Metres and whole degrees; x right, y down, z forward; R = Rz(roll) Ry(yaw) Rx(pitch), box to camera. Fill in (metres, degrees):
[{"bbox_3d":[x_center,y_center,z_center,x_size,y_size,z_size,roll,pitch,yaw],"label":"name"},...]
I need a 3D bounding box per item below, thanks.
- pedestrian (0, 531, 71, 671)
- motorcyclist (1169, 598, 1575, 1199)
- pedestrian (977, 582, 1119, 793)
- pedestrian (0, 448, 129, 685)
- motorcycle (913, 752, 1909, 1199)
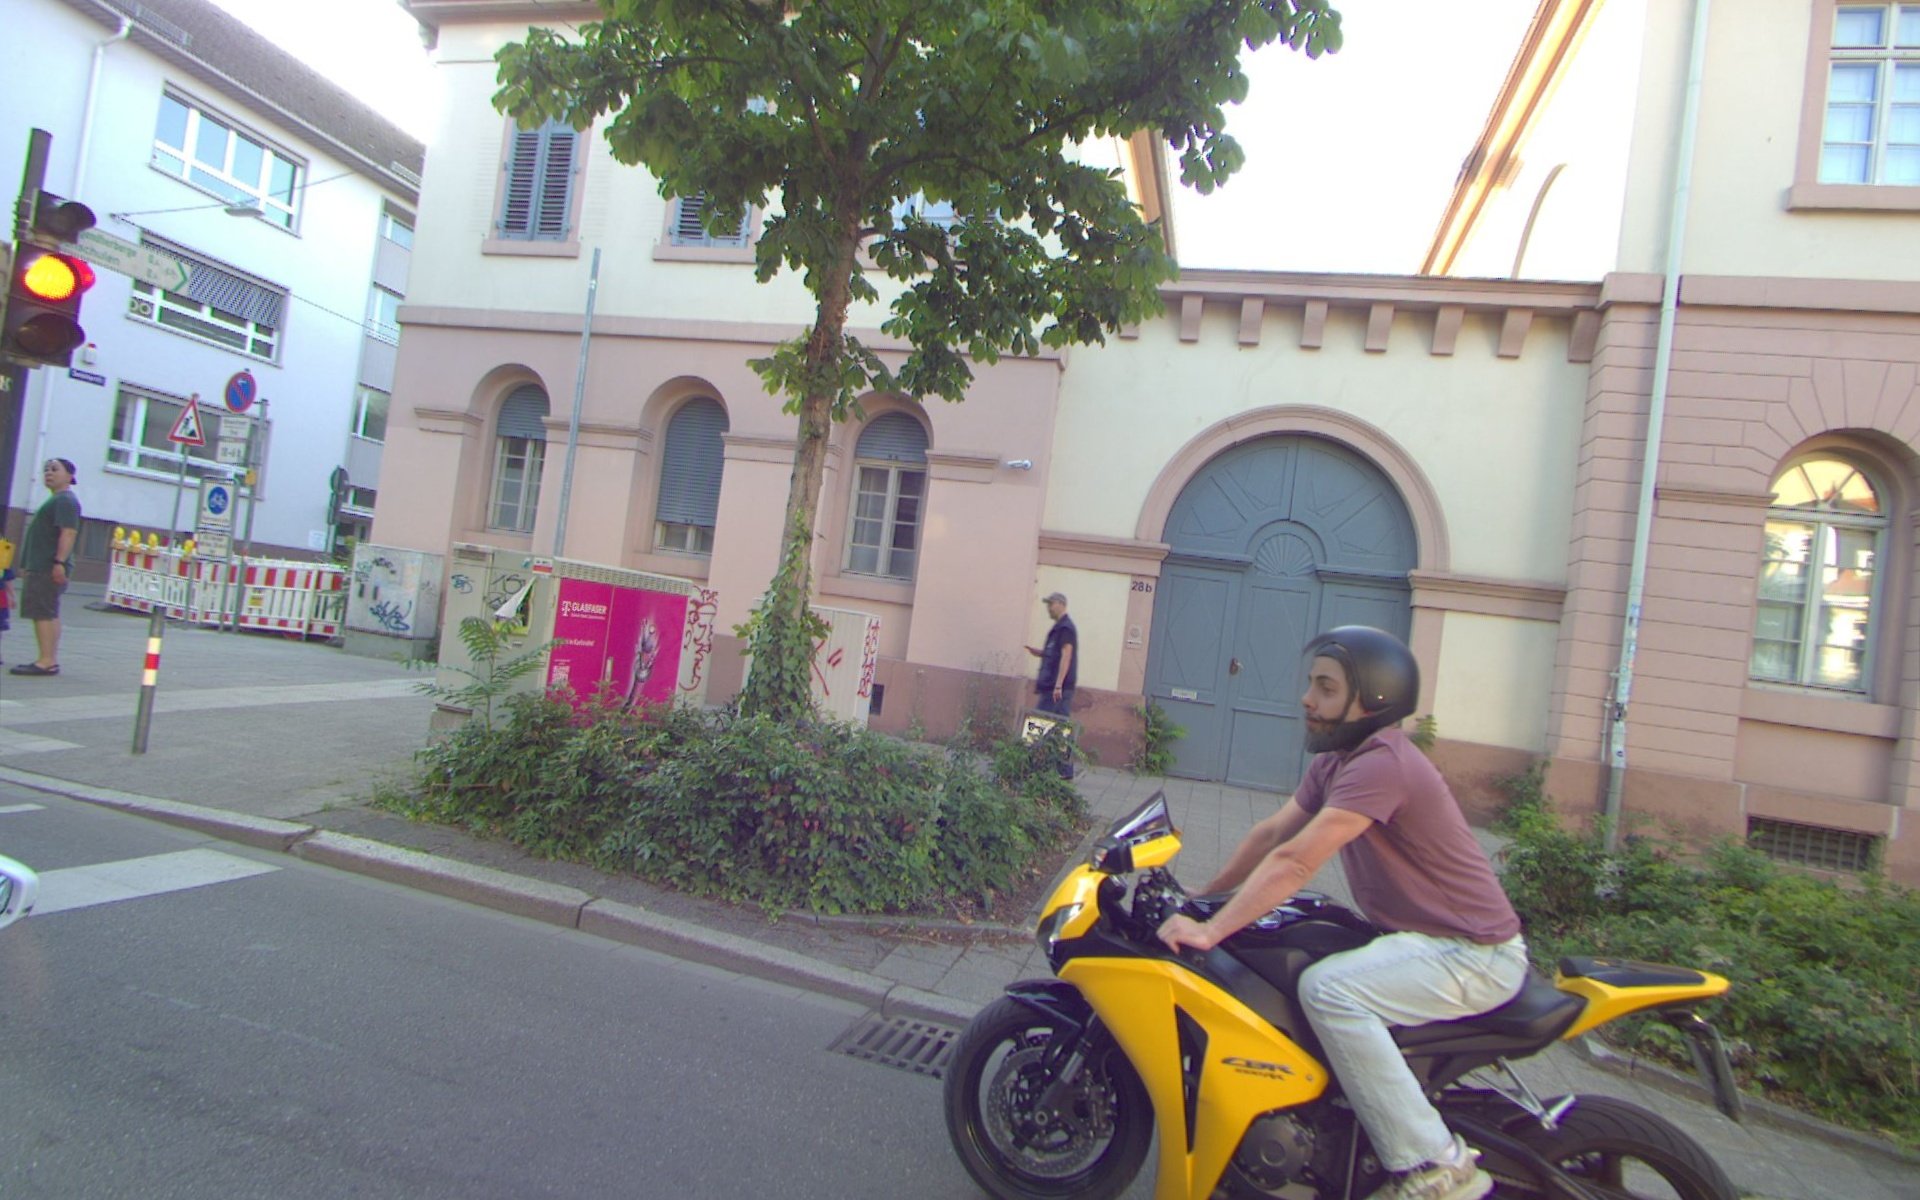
[{"bbox_3d":[-8.368,-0.017,8.652,0.821,1.134,0.567,8,0,6],"label":"pedestrian"},{"bbox_3d":[0.977,0.785,2.601,0.685,1.435,0.795,7,-3,12],"label":"motorcyclist"},{"bbox_3d":[0.885,0.831,9.944,1.062,1.862,0.801,8,1,14],"label":"pedestrian"},{"bbox_3d":[-7.739,-0.287,8.514,0.885,1.837,0.785,8,1,-40],"label":"pedestrian"},{"bbox_3d":[0.962,1.148,2.579,1.929,1.173,0.795,7,-3,12],"label":"motorcycle"}]
